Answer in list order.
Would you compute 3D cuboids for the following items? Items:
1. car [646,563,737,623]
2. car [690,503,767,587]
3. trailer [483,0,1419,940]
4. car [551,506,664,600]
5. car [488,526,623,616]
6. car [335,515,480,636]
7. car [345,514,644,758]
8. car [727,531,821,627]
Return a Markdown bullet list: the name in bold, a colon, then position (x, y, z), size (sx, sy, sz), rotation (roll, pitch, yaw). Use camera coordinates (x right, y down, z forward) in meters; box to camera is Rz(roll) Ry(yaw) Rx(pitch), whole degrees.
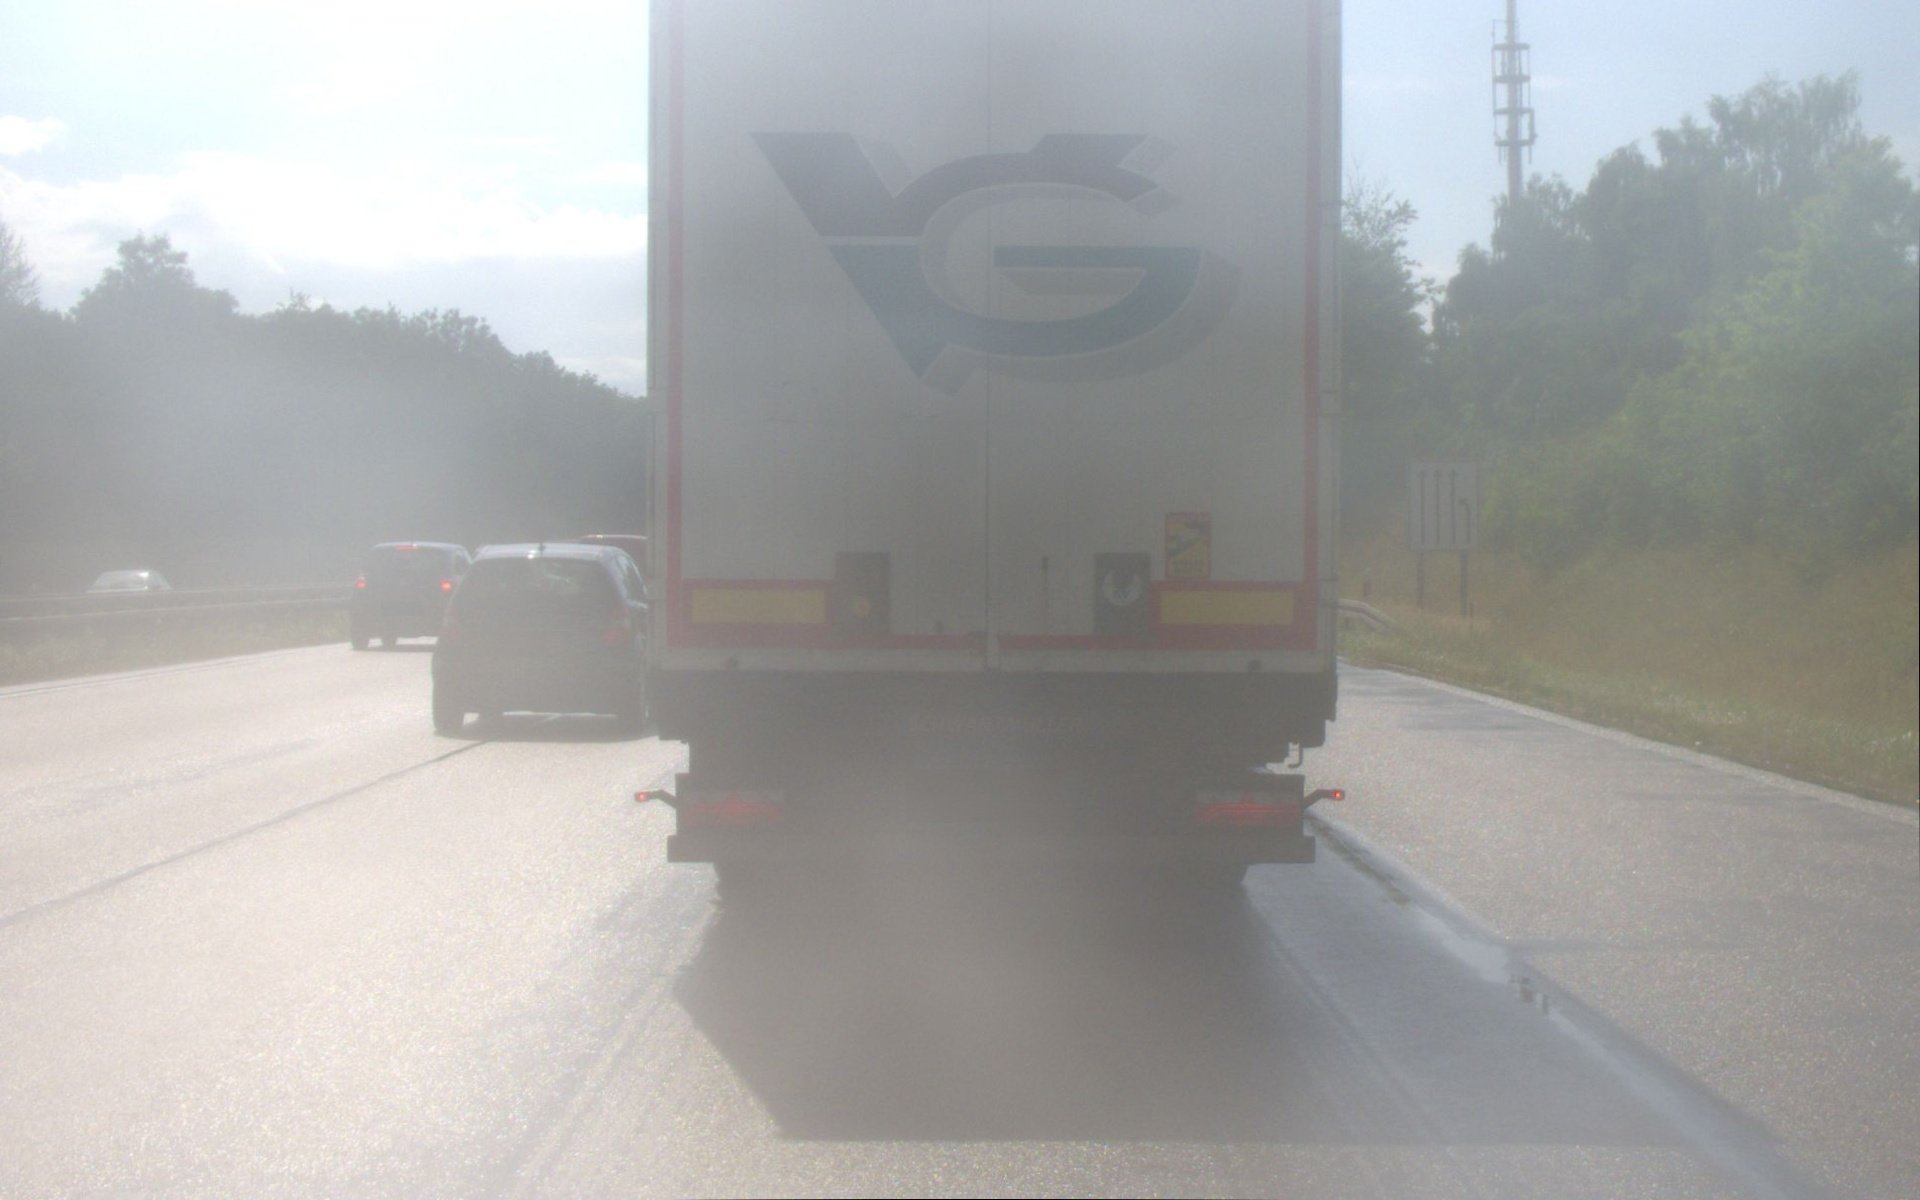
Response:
- **car**: position (-7.288, -0.209, 93.773), size (1.993, 1.559, 4.756), rotation (1, 0, 1)
- **car**: position (-7.418, -1.751, 110.577), size (1.993, 2.606, 5.259), rotation (1, 0, 1)
- **trailer**: position (-0.080, -0.855, 19.385), size (3.283, 3.885, 14.129), rotation (1, 1, 0)
- **car**: position (-8.047, -1.062, 78.791), size (1.978, 2.047, 4.756), rotation (1, 0, 1)
- **car**: position (-7.634, -0.544, 65.226), size (1.909, 1.631, 4.617), rotation (-1, 0, 1)
- **car**: position (-8.598, -0.384, 53.759), size (1.692, 1.798, 3.976), rotation (1, 0, -1)
- **car**: position (-4.006, 0.282, 30.385), size (2.274, 1.948, 4.822), rotation (1, 0, -4)
- **car**: position (-3.623, -0.411, 67.489), size (1.692, 1.798, 3.976), rotation (1, 0, -1)
